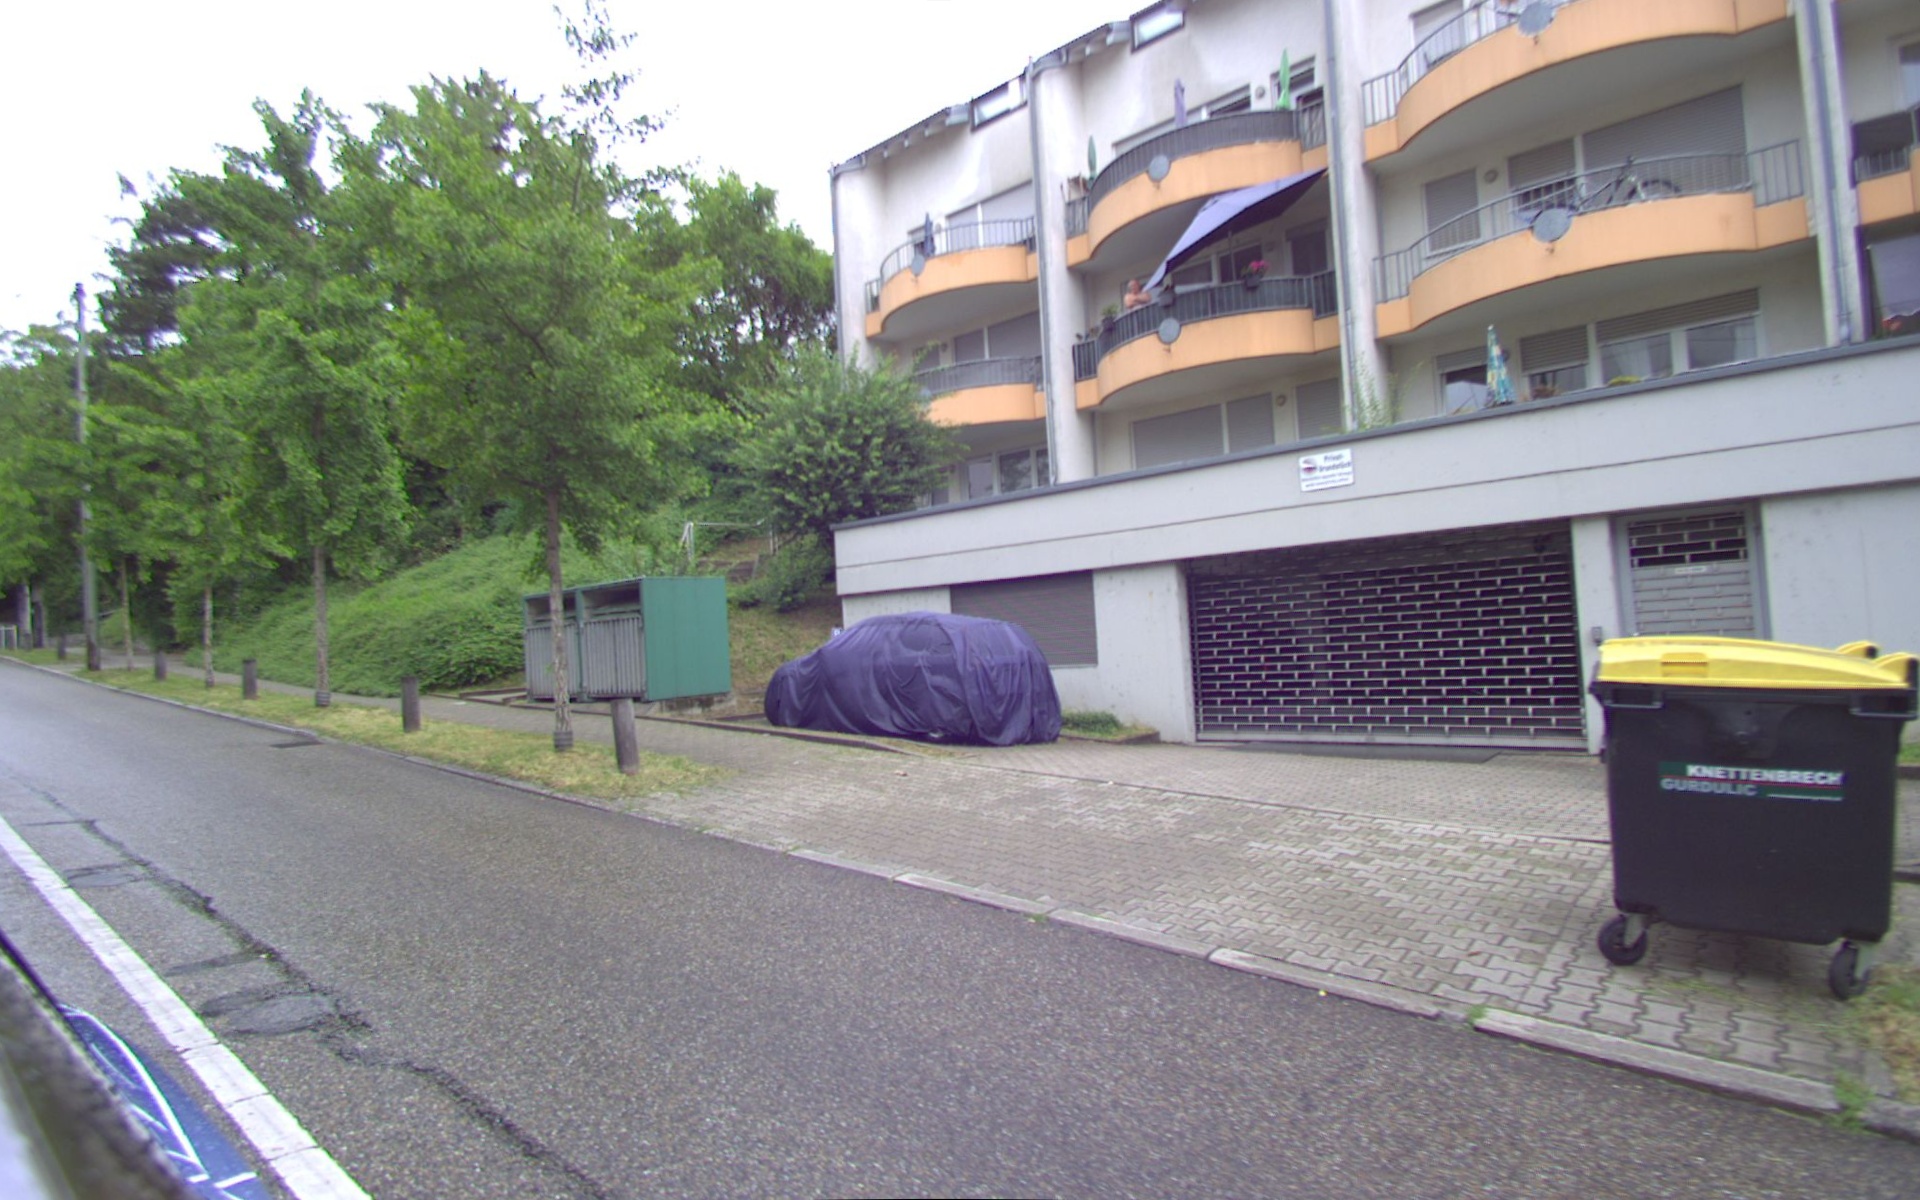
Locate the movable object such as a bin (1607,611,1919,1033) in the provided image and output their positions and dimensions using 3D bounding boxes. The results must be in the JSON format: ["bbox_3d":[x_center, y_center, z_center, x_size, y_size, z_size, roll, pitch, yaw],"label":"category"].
[{"bbox_3d":[3.368,0.786,4.201,1.120,1.360,1.214,1,5,33],"label":"movable object such as a bin"}]

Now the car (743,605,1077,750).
[{"bbox_3d":[-0.696,0.895,12.485,3.862,1.503,1.833,-1,-5,39],"label":"car"}]
